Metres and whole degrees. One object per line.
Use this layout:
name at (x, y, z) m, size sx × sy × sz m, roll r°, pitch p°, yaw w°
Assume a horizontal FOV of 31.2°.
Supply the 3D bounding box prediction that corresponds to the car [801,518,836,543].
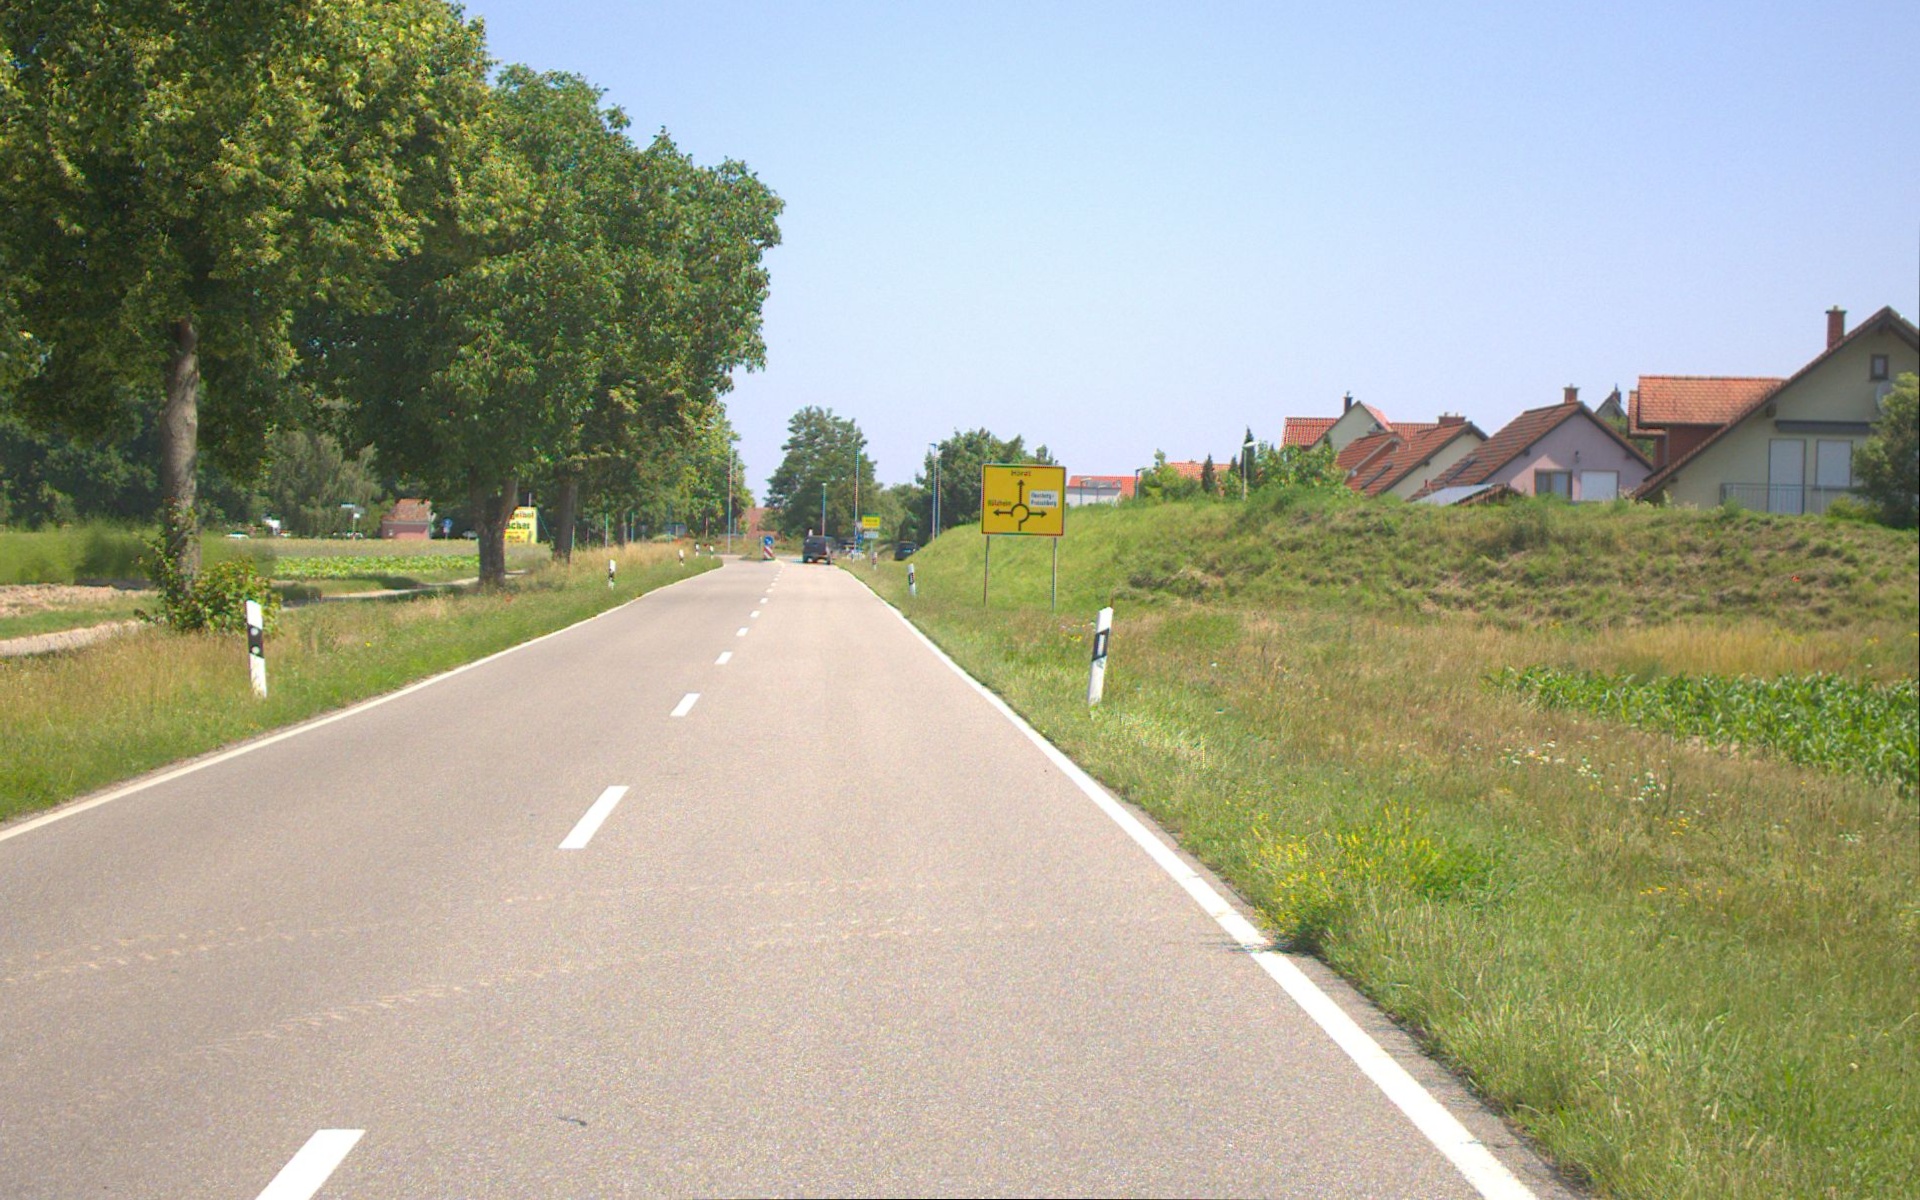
car at (-8.983, -4.427, 219.066) m, size 1.838 × 1.531 × 3.610 m, roll 1°, pitch 1°, yaw 3°
